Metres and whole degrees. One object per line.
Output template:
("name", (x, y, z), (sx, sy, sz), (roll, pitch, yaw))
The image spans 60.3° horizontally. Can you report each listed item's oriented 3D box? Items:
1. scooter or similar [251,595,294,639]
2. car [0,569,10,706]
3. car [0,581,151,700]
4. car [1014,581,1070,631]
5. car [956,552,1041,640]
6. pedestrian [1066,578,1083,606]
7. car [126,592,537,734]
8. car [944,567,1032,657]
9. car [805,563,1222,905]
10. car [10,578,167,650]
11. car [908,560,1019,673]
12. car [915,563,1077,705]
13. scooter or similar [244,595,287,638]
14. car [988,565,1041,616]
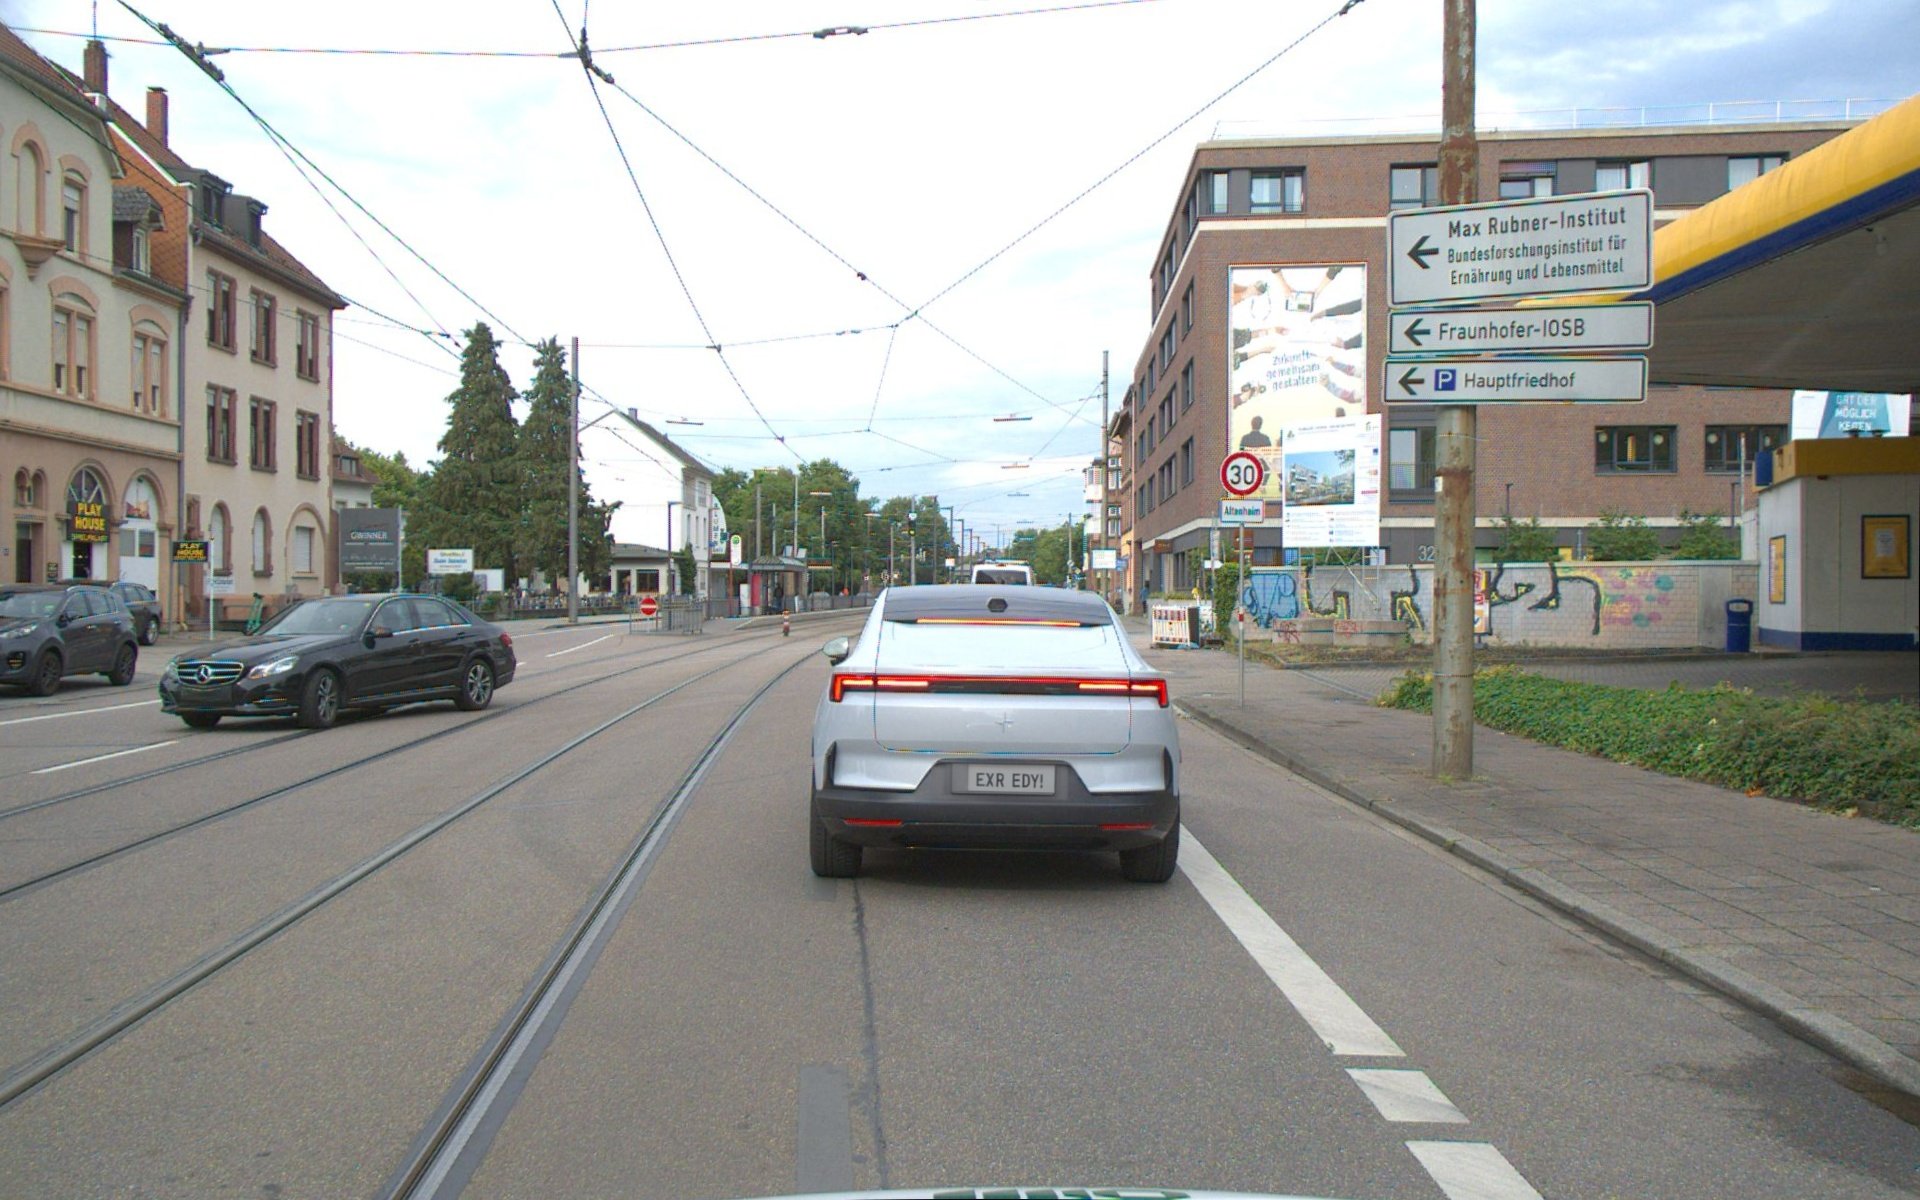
("scooter or similar", (-19.364, 0.485, 46.600), (1.041, 1.209, 0.314), (2, -1, -37))
("car", (-14.294, 0.486, 20.761), (1.952, 1.920, 4.996), (1, 0, -2))
("car", (-14.792, 0.596, 26.444), (1.808, 1.748, 4.190), (1, 0, -3))
("car", (3.178, 0.225, 65.027), (1.837, 1.855, 4.094), (1, 0, -2))
("car", (1.100, -0.109, 49.774), (2.172, 2.465, 4.948), (1, 0, -3))
("pedestrian", (8.616, -0.594, 124.366), (1.194, 2.049, 0.933), (-1, 0, -1))
("car", (-7.201, 0.637, 19.613), (1.906, 1.452, 4.888), (0, 0, 18))
("car", (0.638, 0.289, 40.666), (1.953, 2.049, 3.999), (1, 0, -2))
("car", (0.090, 0.628, 9.870), (1.943, 1.577, 4.179), (1, 0, -5))
("car", (-19.779, 0.316, 37.728), (1.718, 1.527, 3.744), (1, 0, -3))
("car", (0.001, 0.325, 32.674), (1.954, 2.049, 3.998), (1, 0, -3))
("car", (0.417, 0.455, 23.264), (1.930, 1.787, 3.835), (1, 0, -4))
("scooter or similar", (-19.737, 0.463, 47.000), (1.041, 1.209, 0.314), (2, -1, -37))
("car", (2.427, -0.406, 74.816), (2.096, 2.183, 4.741), (1, 0, -2))
